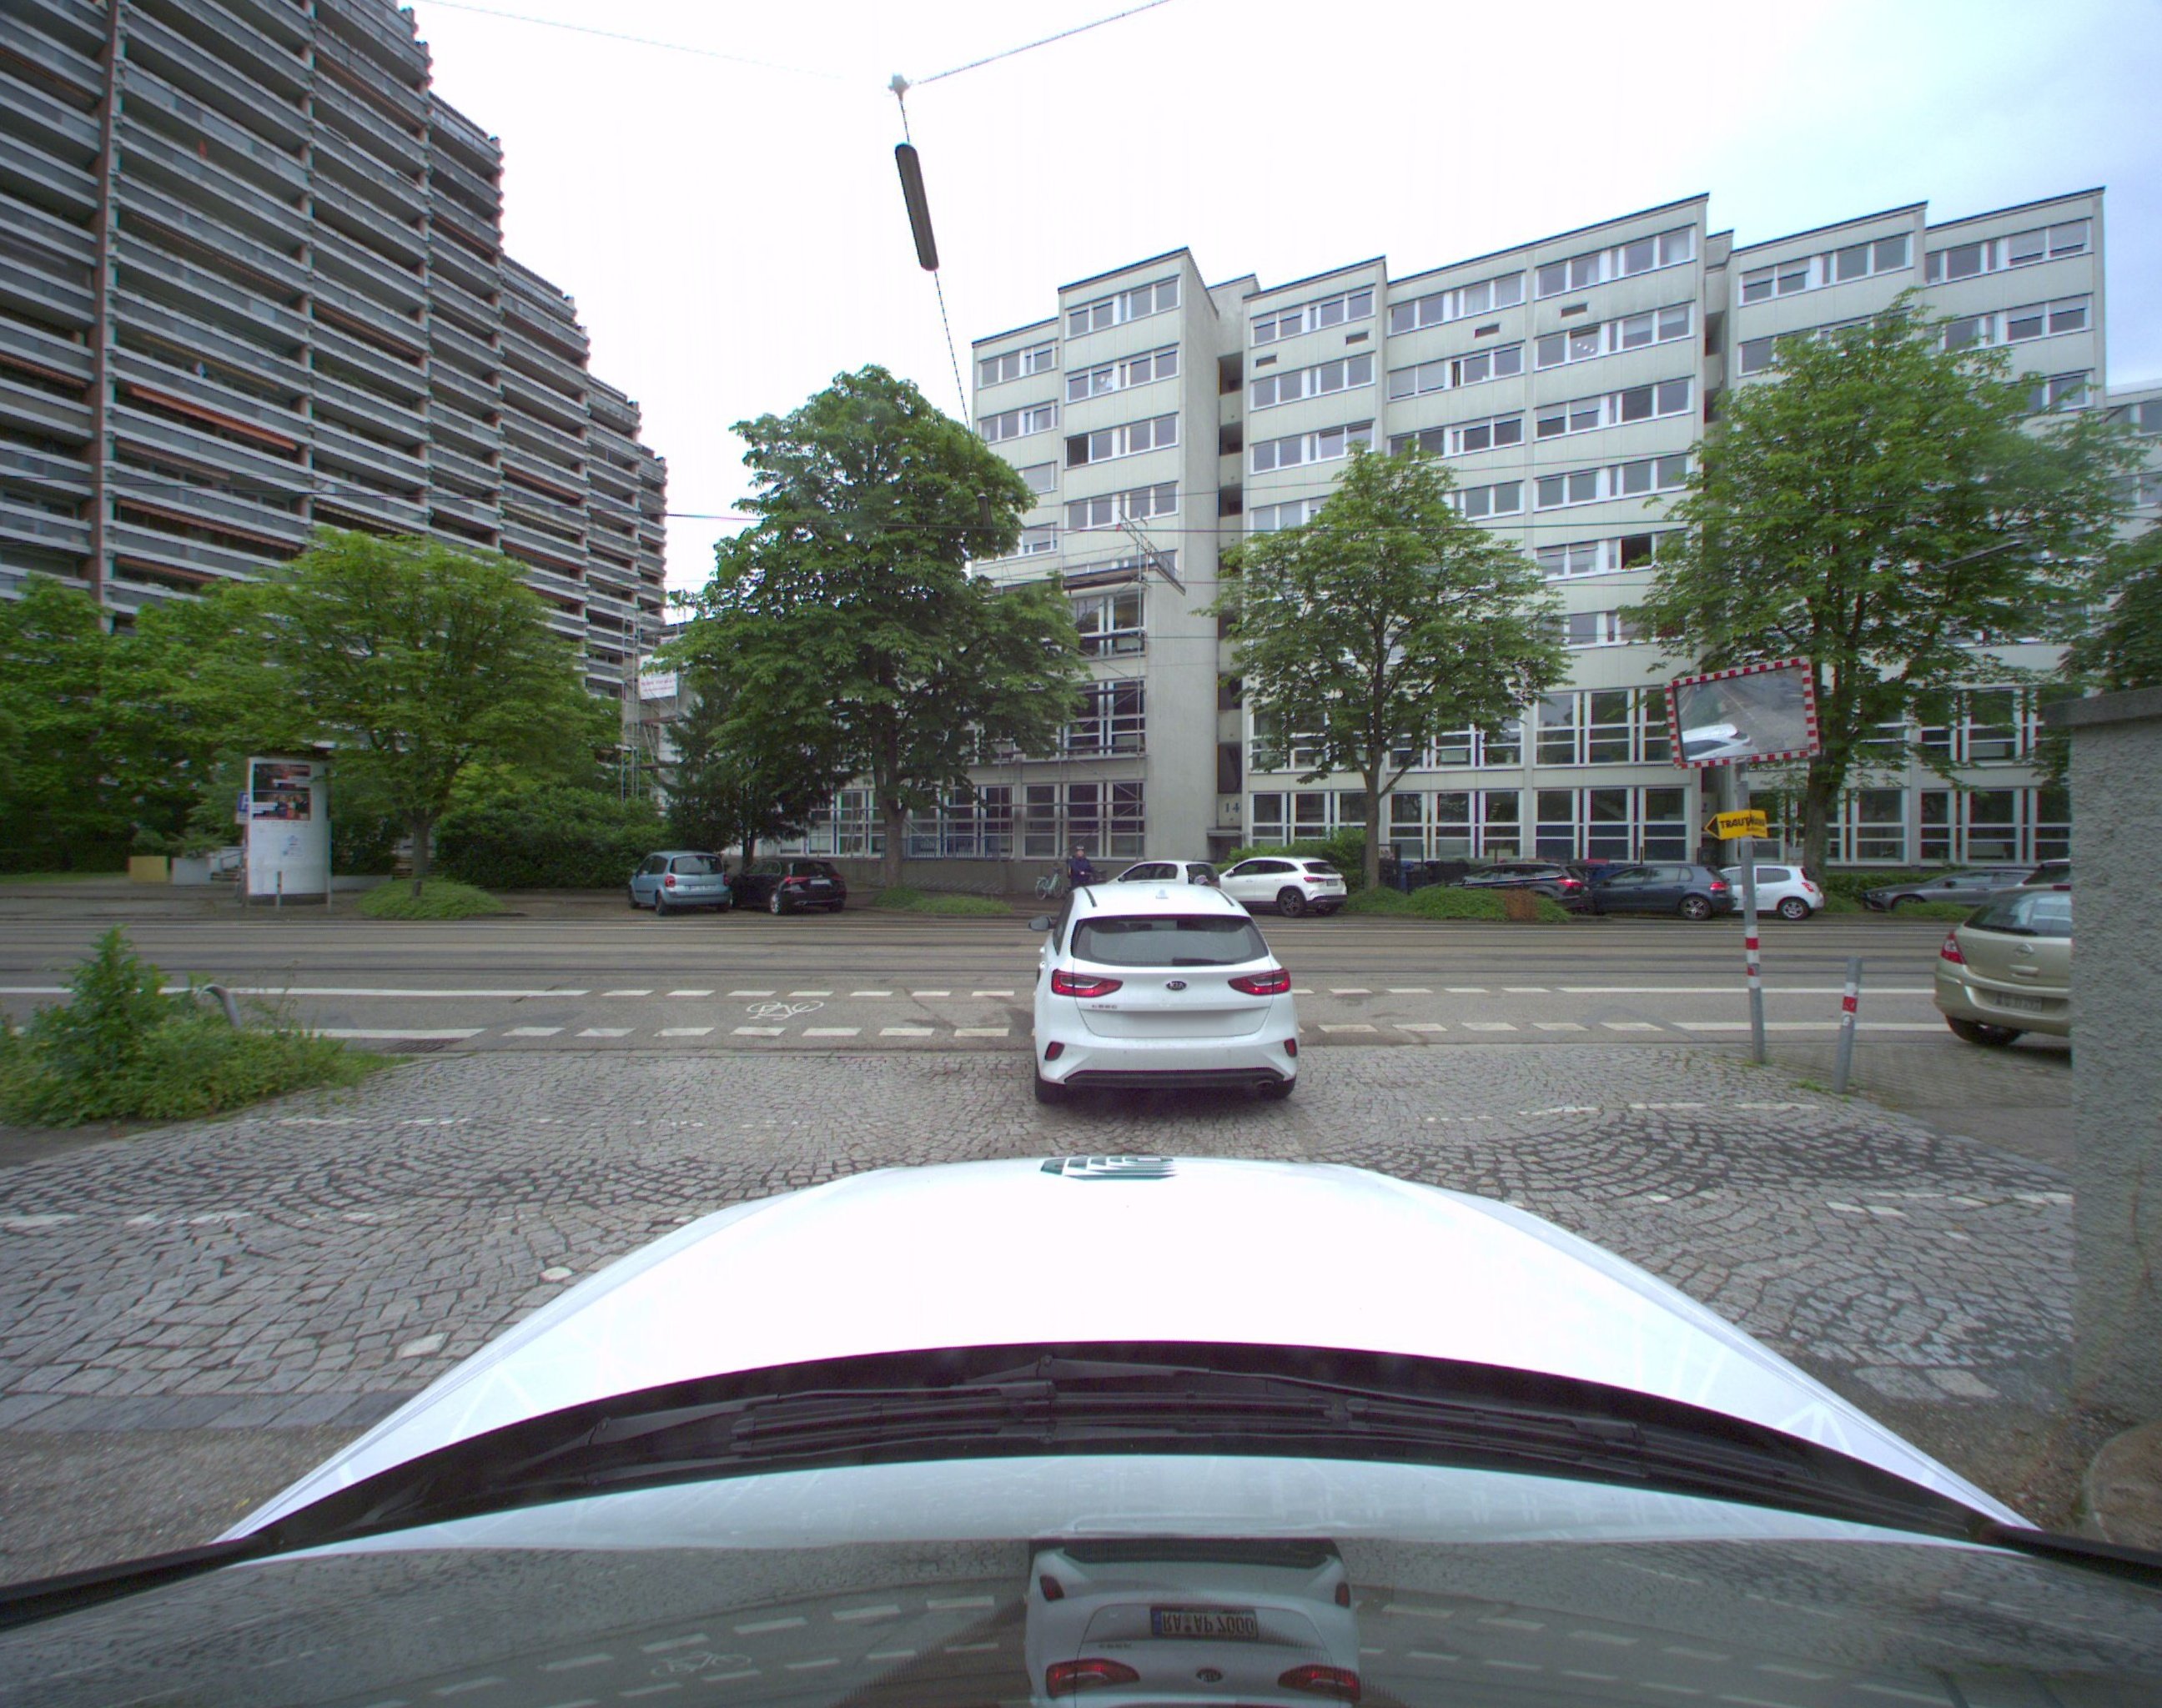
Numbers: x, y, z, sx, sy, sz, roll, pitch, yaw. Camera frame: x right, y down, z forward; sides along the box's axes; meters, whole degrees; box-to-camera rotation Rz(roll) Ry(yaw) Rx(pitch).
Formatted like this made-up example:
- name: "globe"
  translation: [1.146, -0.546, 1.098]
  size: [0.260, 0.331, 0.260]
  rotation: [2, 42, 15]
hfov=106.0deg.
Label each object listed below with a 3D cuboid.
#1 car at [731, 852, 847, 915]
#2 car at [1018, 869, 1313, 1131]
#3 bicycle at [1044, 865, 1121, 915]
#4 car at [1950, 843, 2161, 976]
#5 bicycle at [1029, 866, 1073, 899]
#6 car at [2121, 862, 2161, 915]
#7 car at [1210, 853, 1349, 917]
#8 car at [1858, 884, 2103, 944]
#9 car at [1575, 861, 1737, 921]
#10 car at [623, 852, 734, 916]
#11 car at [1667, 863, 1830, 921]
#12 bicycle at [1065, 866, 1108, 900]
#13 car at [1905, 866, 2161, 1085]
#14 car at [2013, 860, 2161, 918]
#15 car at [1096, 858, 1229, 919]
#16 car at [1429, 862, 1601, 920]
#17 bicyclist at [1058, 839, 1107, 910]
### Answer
- name: "car"
  translation: [-7.677, 0.722, 21.288]
  size: [3.295, 1.511, 1.628]
  rotation: [-1, -1, 45]
- name: "car"
  translation: [0.549, 0.922, 6.914]
  size: [1.769, 1.432, 3.980]
  rotation: [-1, 1, 1]
- name: "bicycle"
  translation: [0.020, 0.862, 20.275]
  size: [0.826, 1.174, 1.892]
  rotation: [1, 0, -44]
- name: "car"
  translation: [15.581, 0.728, 11.478]
  size: [4.570, 1.703, 2.000]
  rotation: [0, 0, 0]
- name: "bicycle"
  translation: [-1.009, 0.968, 28.121]
  size: [0.638, 1.075, 2.324]
  rotation: [0, 0, 22]
- name: "car"
  translation: [31.667, 0.975, 22.573]
  size: [1.425, 1.474, 3.348]
  rotation: [0, 0, -44]
- name: "car"
  translation: [5.322, 0.792, 22.134]
  size: [1.565, 1.618, 3.367]
  rotation: [0, -1, -42]
- name: "car"
  translation: [24.868, 1.619, 22.800]
  size: [4.441, 1.474, 1.425]
  rotation: [-1, -3, 42]
- name: "car"
  translation: [15.416, 0.947, 21.922]
  size: [1.425, 1.474, 3.348]
  rotation: [0, -1, -44]
- name: "car"
  translation: [-10.558, 0.715, 21.269]
  size: [3.296, 1.537, 1.628]
  rotation: [0, 0, 45]
- name: "car"
  translation: [18.447, 0.987, 22.589]
  size: [1.425, 1.474, 3.348]
  rotation: [0, -1, -44]
- name: "bicycle"
  translation: [0.216, 0.956, 27.600]
  size: [0.638, 1.075, 2.324]
  rotation: [0, 0, 22]
- name: "car"
  translation: [9.208, 0.868, 6.527]
  size: [3.570, 1.501, 1.665]
  rotation: [0, 0, 0]
- name: "car"
  translation: [28.039, 0.921, 22.219]
  size: [1.425, 1.474, 3.348]
  rotation: [0, 0, -44]
- name: "car"
  translation: [2.120, 0.867, 21.780]
  size: [1.565, 1.473, 3.367]
  rotation: [0, -1, -42]
- name: "car"
  translation: [11.939, 0.959, 22.530]
  size: [3.904, 1.474, 1.684]
  rotation: [-1, -1, 42]
- name: "bicyclist"
  translation: [0.032, 0.499, 20.263]
  size: [0.839, 1.698, 0.886]
  rotation: [1, 0, -43]
